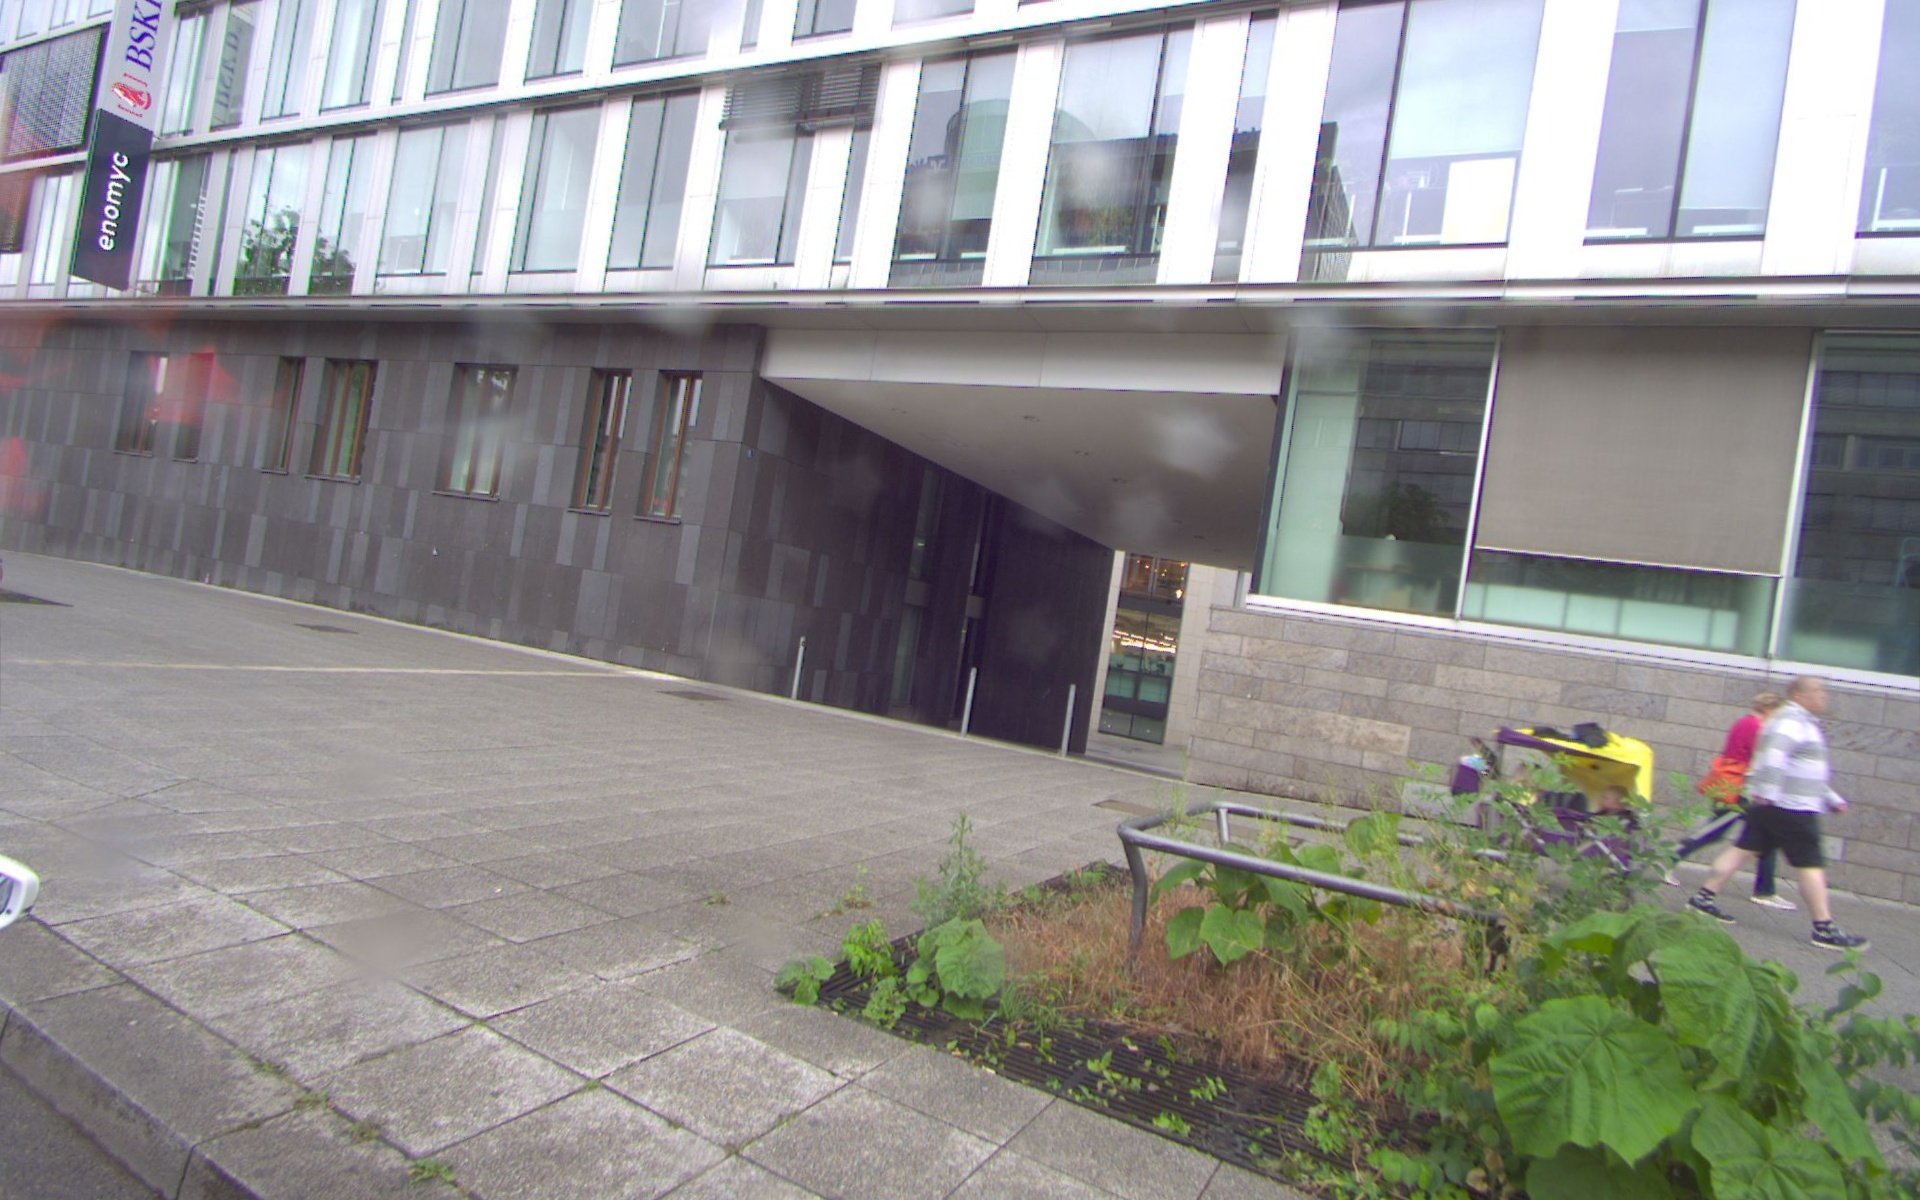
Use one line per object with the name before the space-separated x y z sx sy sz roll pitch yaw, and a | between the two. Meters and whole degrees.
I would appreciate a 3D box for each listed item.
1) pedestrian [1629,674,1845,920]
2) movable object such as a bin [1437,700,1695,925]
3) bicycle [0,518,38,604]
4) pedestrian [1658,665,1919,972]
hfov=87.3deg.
pedestrian | 6.237 1.530 8.154 1.080 1.712 0.719 7 1 27
movable object such as a bin | 4.416 1.502 7.445 1.419 1.279 0.733 8 0 29
bicycle | -13.066 -0.627 12.259 0.665 1.069 2.543 7 -2 27
pedestrian | 5.662 1.423 6.980 1.028 1.814 0.901 7 1 26
